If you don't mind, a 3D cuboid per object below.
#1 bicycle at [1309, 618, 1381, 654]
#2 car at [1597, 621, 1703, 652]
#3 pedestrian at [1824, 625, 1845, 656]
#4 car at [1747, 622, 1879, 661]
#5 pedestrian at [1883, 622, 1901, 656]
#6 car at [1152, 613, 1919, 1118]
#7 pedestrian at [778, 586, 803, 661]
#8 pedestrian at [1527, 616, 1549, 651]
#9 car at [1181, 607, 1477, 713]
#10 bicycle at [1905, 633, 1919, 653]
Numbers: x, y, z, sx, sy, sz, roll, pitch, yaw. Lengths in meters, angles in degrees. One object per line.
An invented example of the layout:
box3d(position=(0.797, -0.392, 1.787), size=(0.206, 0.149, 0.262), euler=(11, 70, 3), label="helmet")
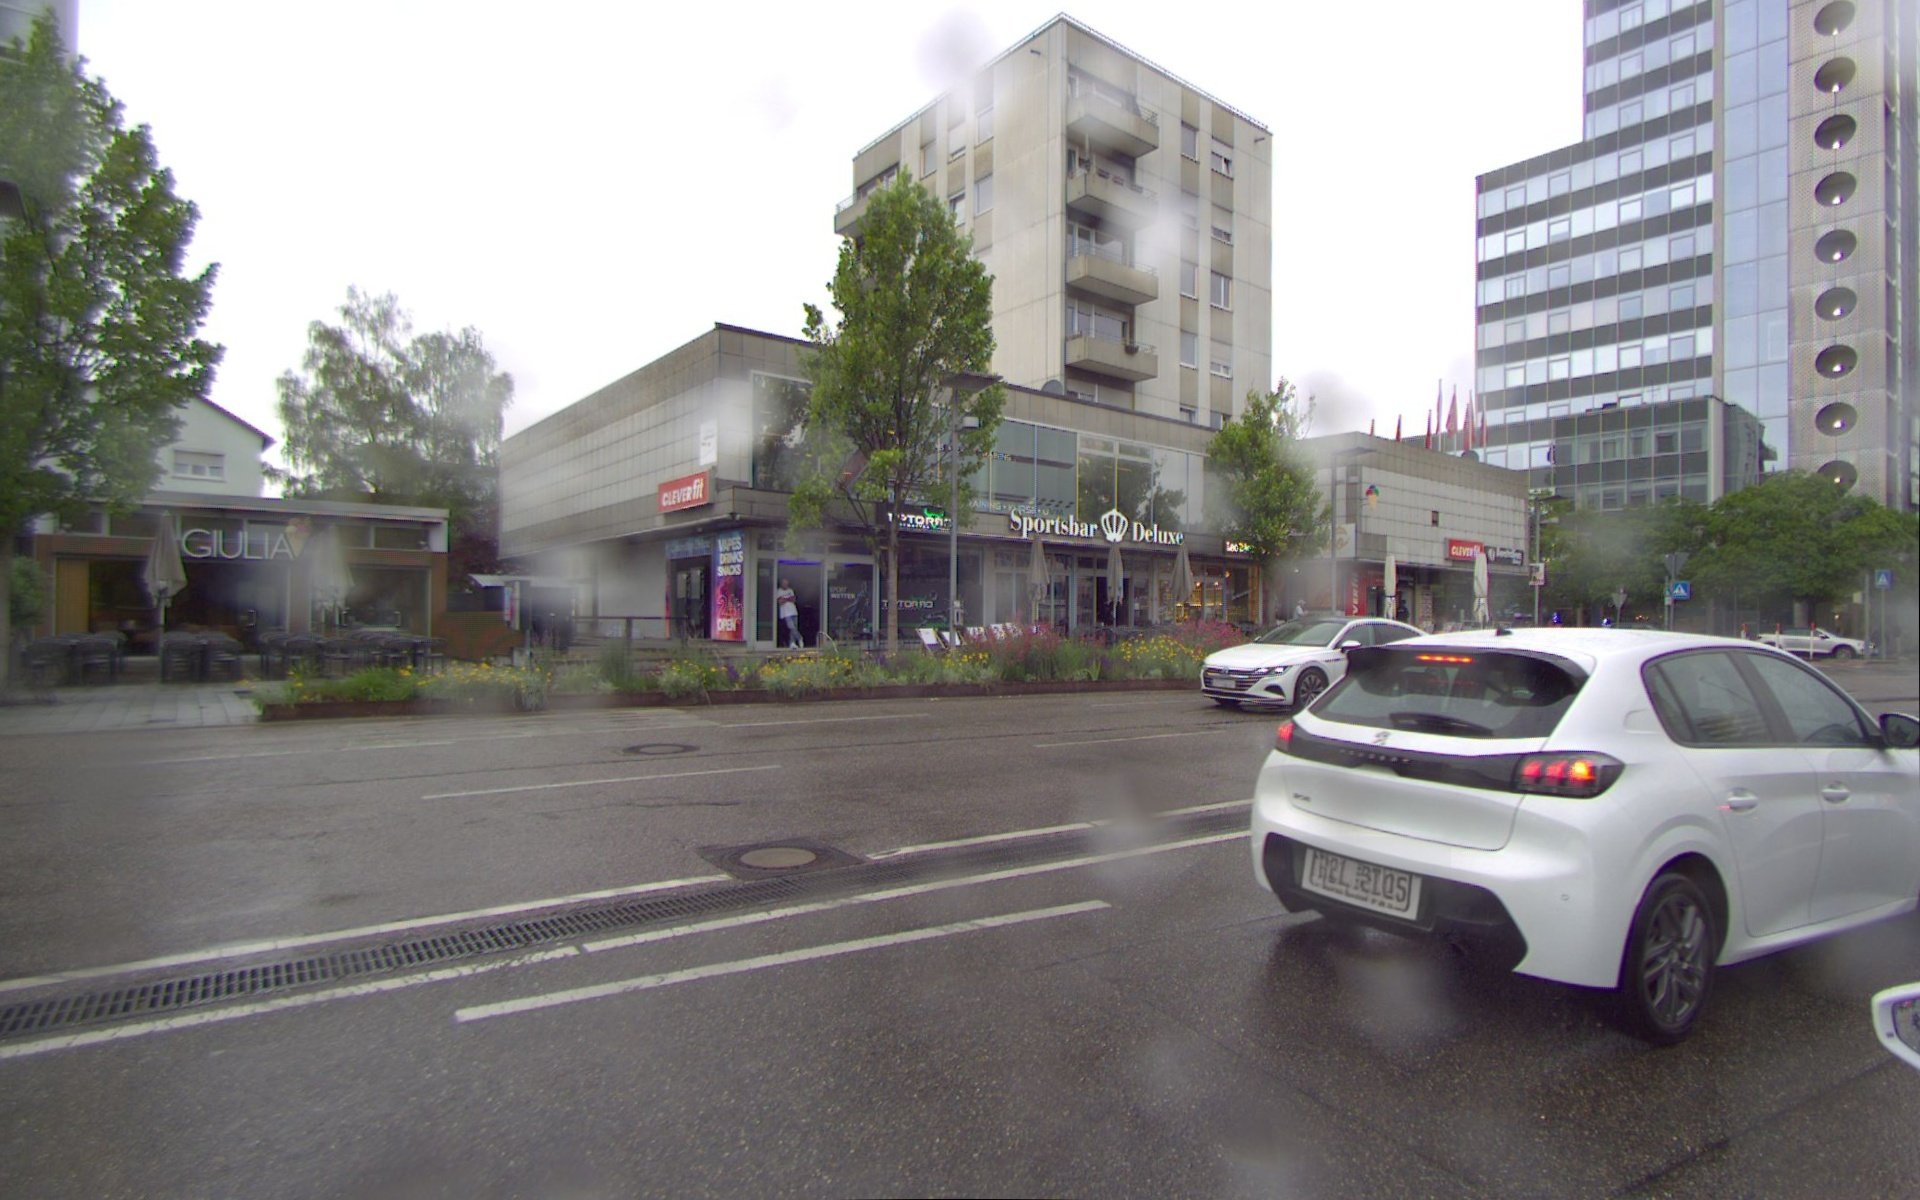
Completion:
box3d(position=(14.159, 1.311, 37.039), size=(0.689, 1.239, 2.528), euler=(1, 0, -35), label="bicycle")
box3d(position=(34.816, 1.808, 50.777), size=(1.850, 1.439, 4.023), euler=(1, -1, -32), label="car")
box3d(position=(54.496, 2.543, 62.616), size=(0.739, 1.892, 0.833), euler=(0, -1, 23), label="pedestrian")
box3d(position=(38.009, 1.813, 44.832), size=(1.851, 1.616, 4.166), euler=(1, -1, -34), label="car")
box3d(position=(56.684, 2.364, 61.095), size=(0.755, 2.040, 0.710), euler=(0, -1, 44), label="pedestrian")
box3d(position=(2.999, 0.841, 4.792), size=(3.828, 1.481, 1.862), euler=(1, 0, -31), label="car")
box3d(position=(-4.318, 0.596, 25.621), size=(0.495, 1.873, 0.424), euler=(1, 0, -28), label="pedestrian")
box3d(position=(22.237, 1.286, 38.650), size=(0.527, 1.365, 0.497), euler=(1, 0, -3), label="pedestrian")
box3d(position=(5.956, 0.893, 16.068), size=(4.751, 1.480, 1.833), euler=(1, 0, -30), label="car")
box3d(position=(61.932, 2.736, 64.116), size=(0.671, 1.263, 2.254), euler=(2, -2, -40), label="bicycle")
